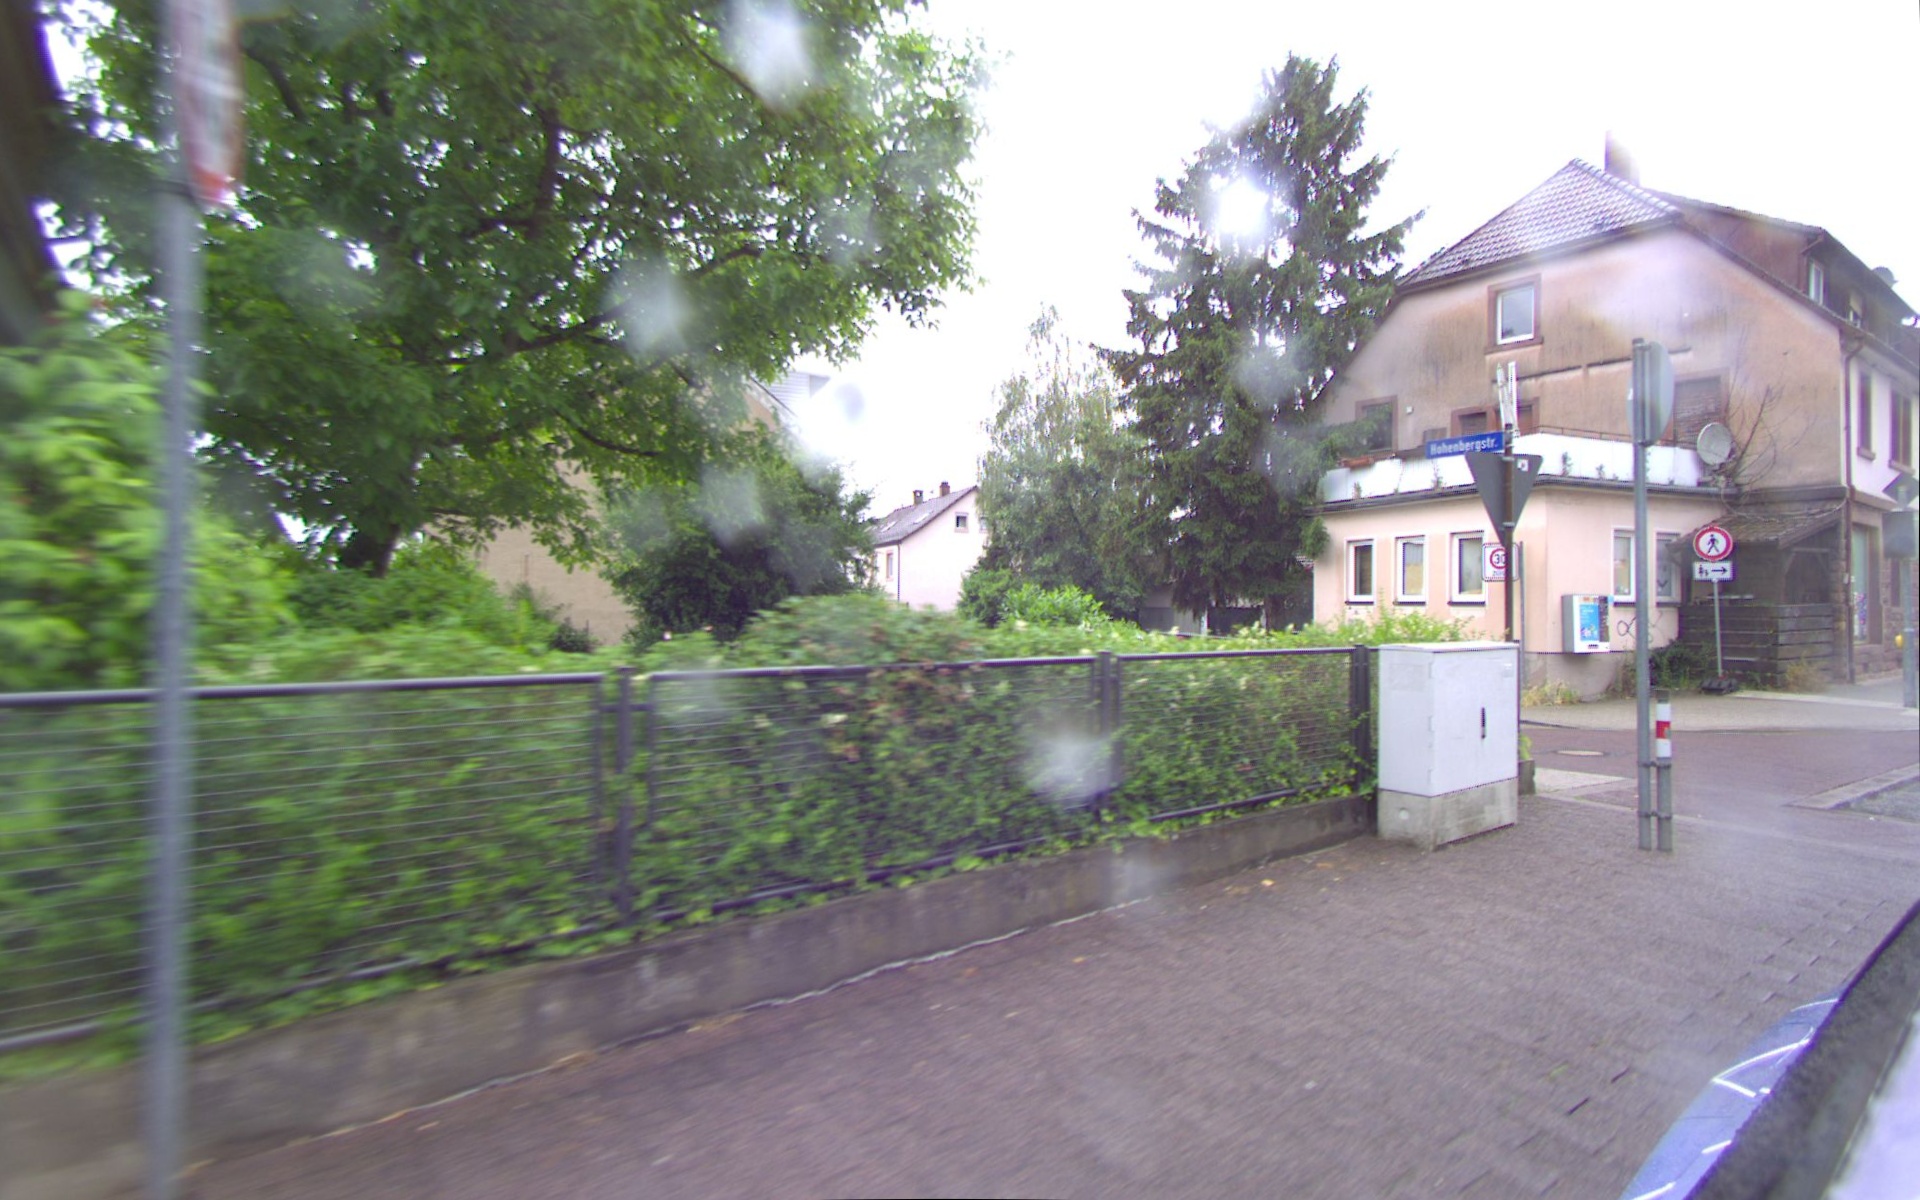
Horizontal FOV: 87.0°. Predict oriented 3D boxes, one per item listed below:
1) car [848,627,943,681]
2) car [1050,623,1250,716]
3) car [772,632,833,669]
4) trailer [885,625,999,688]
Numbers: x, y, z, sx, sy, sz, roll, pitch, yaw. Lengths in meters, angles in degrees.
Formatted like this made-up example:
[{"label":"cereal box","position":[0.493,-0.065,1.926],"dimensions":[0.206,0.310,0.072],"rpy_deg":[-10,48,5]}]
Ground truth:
[{"label":"car","position":[-2.197,1.742,33.179],"dimensions":[1.958,1.591,4.103],"rpy_deg":[-1,-2,-21]},{"label":"car","position":[3.313,1.179,18.476],"dimensions":[1.755,1.490,4.007],"rpy_deg":[0,-2,-20]},{"label":"car","position":[-7.437,2.350,47.474],"dimensions":[1.958,1.591,4.103],"rpy_deg":[-1,-2,-21]},{"label":"trailer","position":[-0.624,1.577,29.025],"dimensions":[1.961,1.587,4.555],"rpy_deg":[-1,-2,-18]}]
